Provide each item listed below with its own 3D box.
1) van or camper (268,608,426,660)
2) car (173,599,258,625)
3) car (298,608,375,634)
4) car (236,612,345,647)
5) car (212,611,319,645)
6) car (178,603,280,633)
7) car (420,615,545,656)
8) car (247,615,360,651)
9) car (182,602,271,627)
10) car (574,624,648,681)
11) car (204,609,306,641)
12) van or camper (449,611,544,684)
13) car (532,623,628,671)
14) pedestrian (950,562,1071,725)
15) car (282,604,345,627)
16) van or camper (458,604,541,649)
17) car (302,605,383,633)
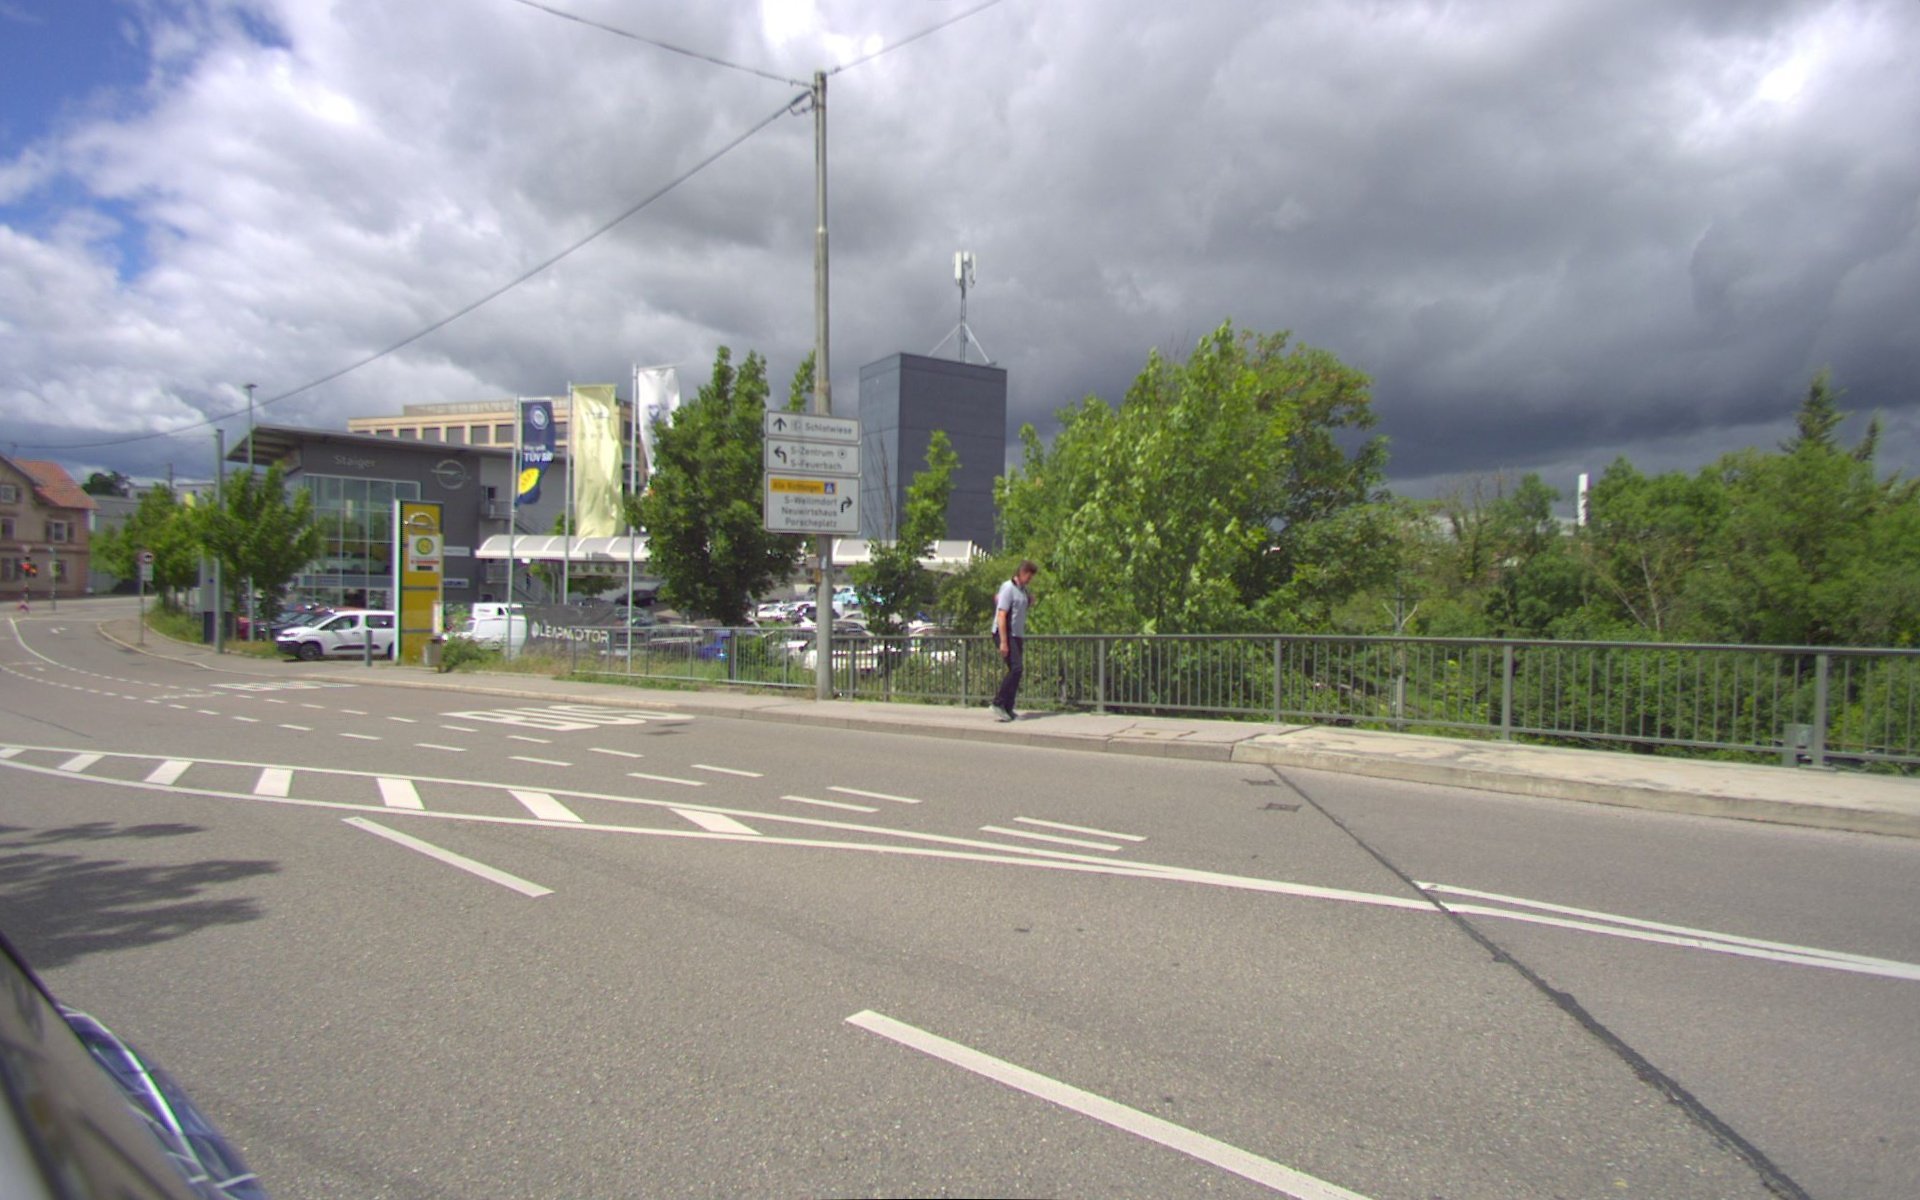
[{"bbox_3d":[-22.311,1.168,36.931,4.613,1.763,2.002,0,0,-44],"label":"van or camper"},{"bbox_3d":[-44.849,0.710,61.009,3.940,1.509,1.814,1,0,-44],"label":"car"},{"bbox_3d":[-33.912,1.126,55.054,1.517,1.384,3.280,0,0,42],"label":"car"},{"bbox_3d":[-30.481,1.328,46.168,1.811,1.509,3.775,0,0,39],"label":"car"},{"bbox_3d":[-32.610,1.275,47.568,1.812,1.509,3.808,0,0,41],"label":"car"},{"bbox_3d":[-39.760,0.964,55.141,1.812,1.509,4.232,0,0,43],"label":"car"},{"bbox_3d":[-19.540,1.413,41.641,2.000,1.447,4.489,1,0,22],"label":"car"},{"bbox_3d":[-28.662,1.395,44.270,1.772,1.472,3.794,0,0,40],"label":"car"},{"bbox_3d":[-42.935,0.854,59.255,4.019,1.405,1.814,1,0,-44],"label":"car"},{"bbox_3d":[-10.779,1.546,31.106,1.786,1.477,4.014,0,1,-24],"label":"car"},{"bbox_3d":[-34.473,1.185,49.521,1.812,1.509,3.785,0,0,42],"label":"car"},{"bbox_3d":[-14.490,1.394,31.906,1.956,1.978,4.973,-1,1,-15],"label":"van or camper"},{"bbox_3d":[-13.813,1.660,37.007,1.795,1.477,3.995,1,1,4],"label":"car"},{"bbox_3d":[0.609,0.485,12.147,0.984,1.851,1.038,-1,0,-43],"label":"pedestrian"},{"bbox_3d":[-39.717,0.939,62.215,1.518,1.384,2.977,0,0,43],"label":"car"},{"bbox_3d":[-22.276,1.234,48.913,4.685,2.029,1.972,0,0,42],"label":"van or camper"},{"bbox_3d":[-31.996,0.965,52.487,1.517,1.384,3.280,0,0,42],"label":"car"}]
